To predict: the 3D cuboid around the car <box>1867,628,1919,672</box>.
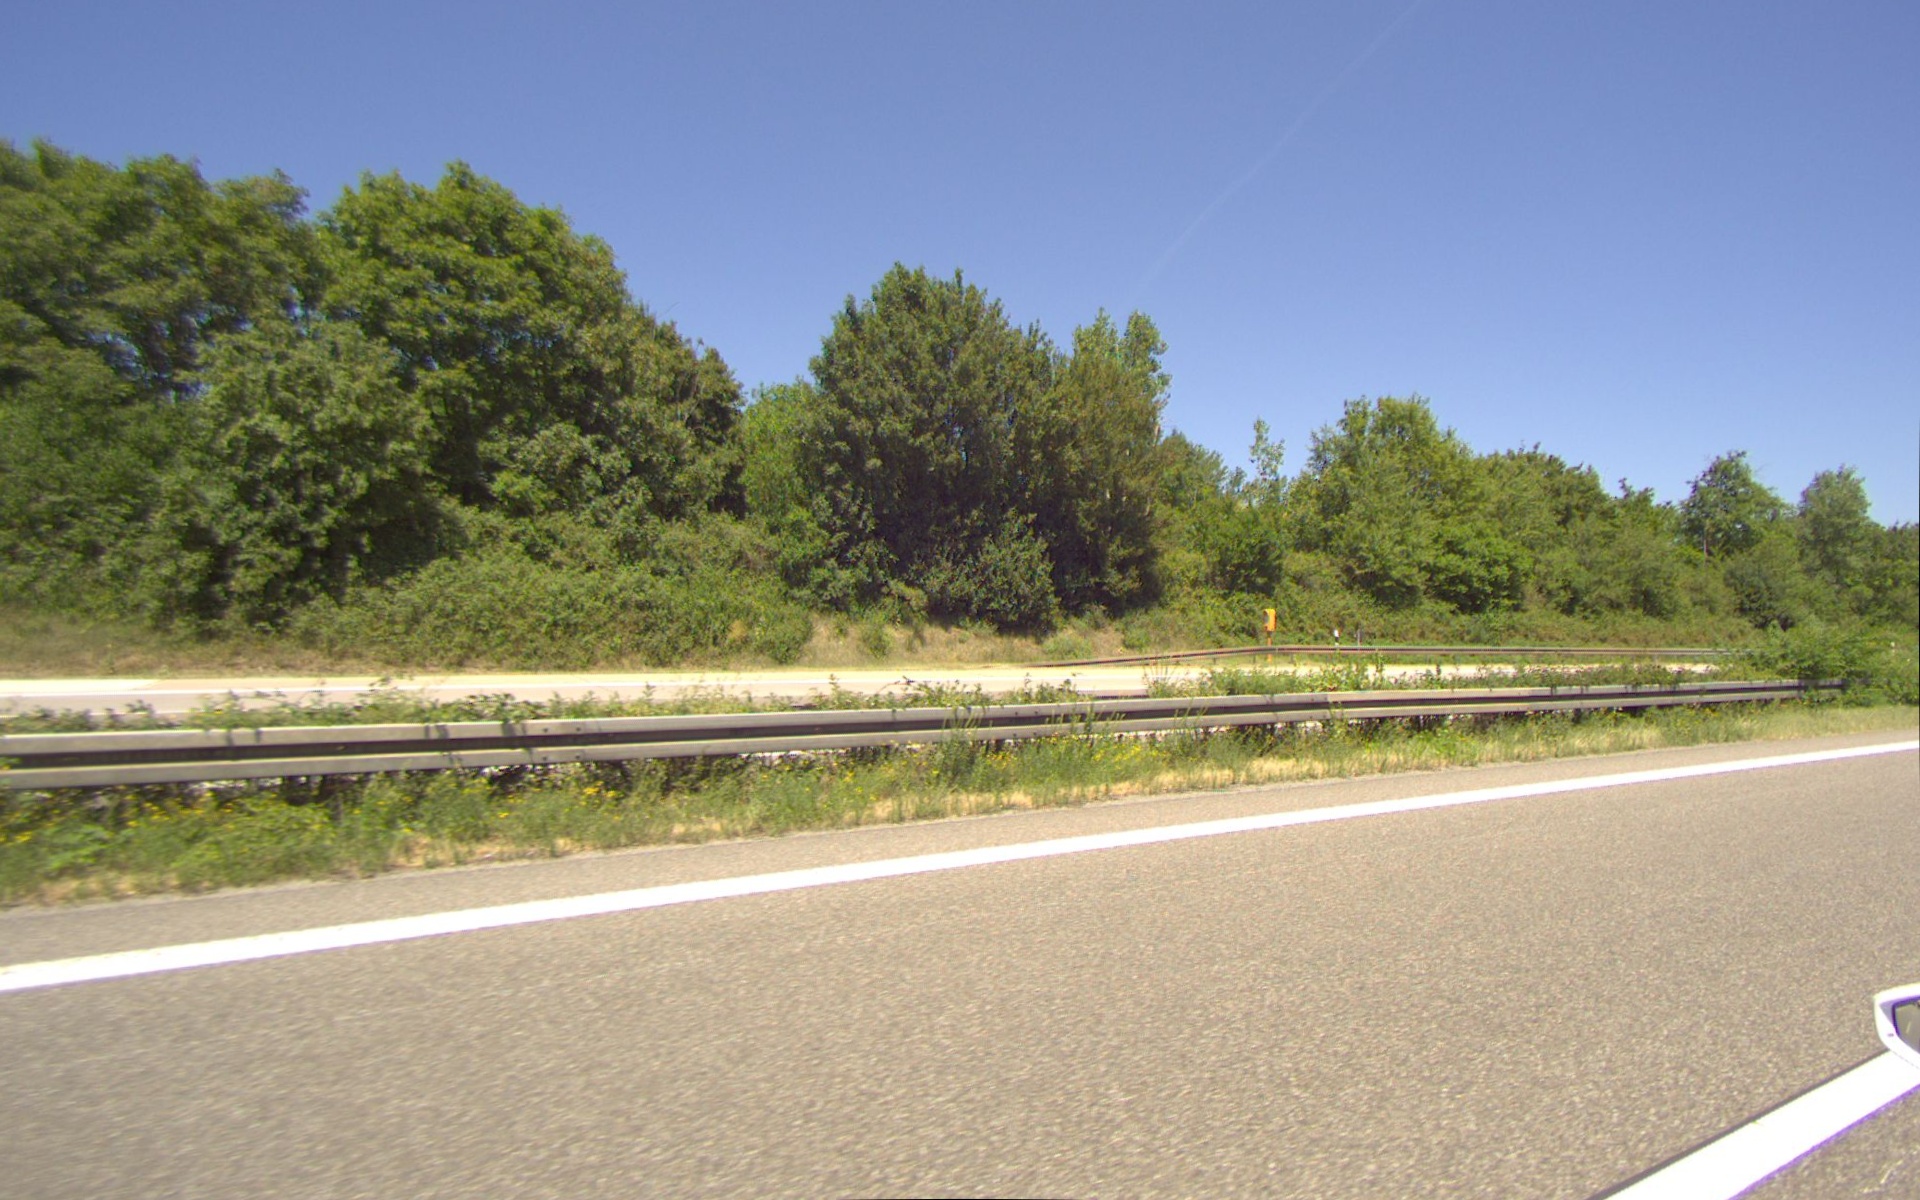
[{"bbox_3d":[40.856,2.146,43.101,3.950,1.777,1.660,2,-1,-28],"label":"car"}]
